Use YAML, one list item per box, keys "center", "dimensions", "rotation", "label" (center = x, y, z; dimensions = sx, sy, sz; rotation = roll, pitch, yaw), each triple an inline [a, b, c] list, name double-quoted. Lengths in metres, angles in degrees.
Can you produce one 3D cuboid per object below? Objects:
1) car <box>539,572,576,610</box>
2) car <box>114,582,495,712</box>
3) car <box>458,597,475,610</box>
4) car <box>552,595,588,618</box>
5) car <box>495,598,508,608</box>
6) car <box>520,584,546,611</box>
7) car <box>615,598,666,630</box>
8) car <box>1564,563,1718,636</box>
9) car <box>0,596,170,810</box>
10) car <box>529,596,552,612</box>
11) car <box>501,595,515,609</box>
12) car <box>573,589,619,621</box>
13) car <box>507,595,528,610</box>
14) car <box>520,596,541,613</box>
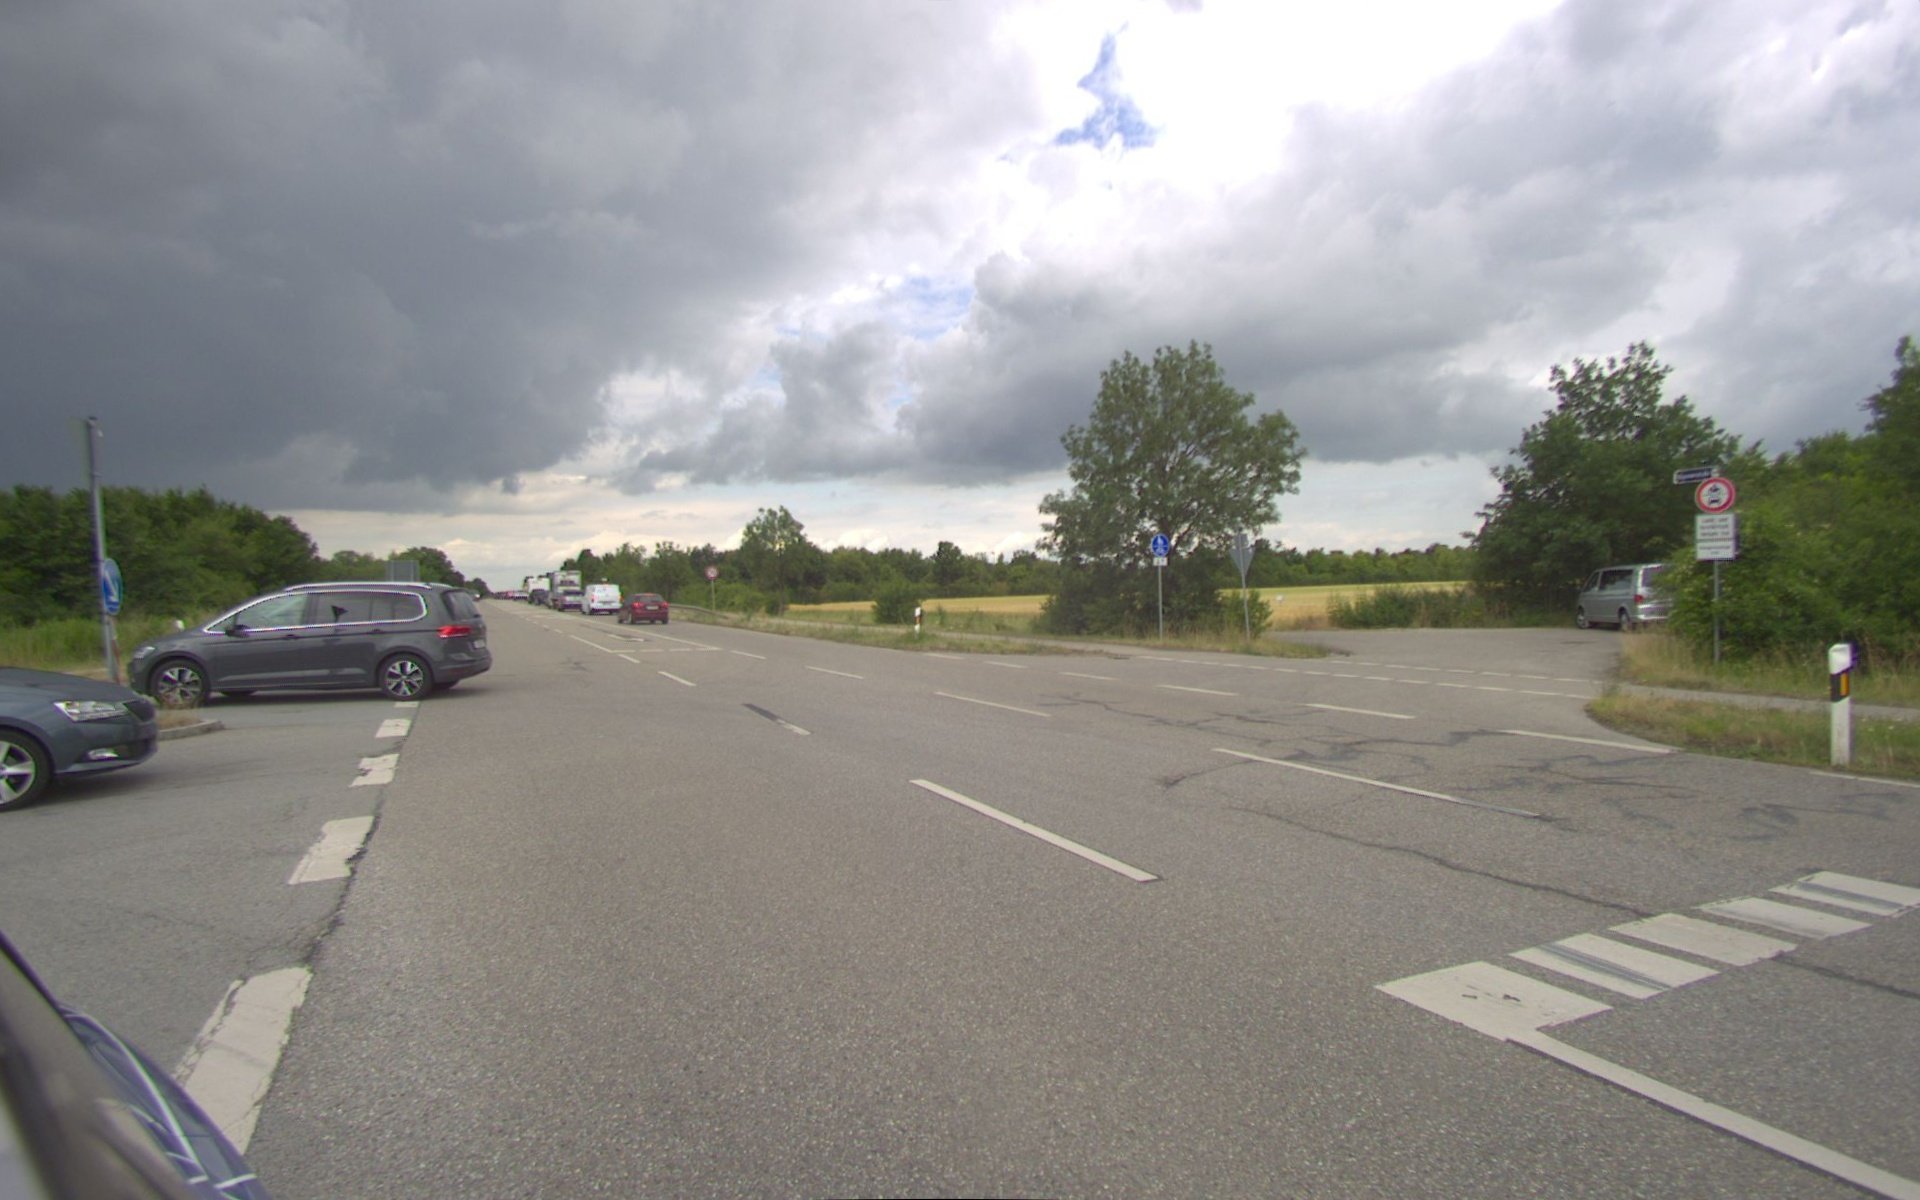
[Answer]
- center: [-33.946, -0.725, 85.195]
  dimensions: [2.300, 3.052, 6.579]
  rotation: [0, -1, -27]
  label: "car"
- center: [-9.123, 0.609, 14.452]
  dimensions: [4.220, 1.671, 1.758]
  rotation: [-1, 0, -11]
  label: "car"
- center: [-63.568, 0.453, 130.350]
  dimensions: [1.965, 1.493, 4.013]
  rotation: [-2, 1, -27]
  label: "car"
- center: [-28.888, 0.512, 74.861]
  dimensions: [1.965, 1.636, 4.274]
  rotation: [1, -1, -28]
  label: "car"
- center: [-78.898, 0.510, 173.999]
  dimensions: [1.826, 1.763, 4.013]
  rotation: [-2, 0, -26]
  label: "car"
- center: [-51.634, -0.230, 122.260]
  dimensions: [2.301, 3.052, 6.579]
  rotation: [-2, 0, -27]
  label: "car"
- center: [-14.939, 0.643, 47.241]
  dimensions: [1.649, 1.412, 4.102]
  rotation: [-1, 0, -26]
  label: "car"
- center: [20.131, -0.027, 30.213]
  dimensions: [2.092, 1.900, 5.078]
  rotation: [-3, 0, 14]
  label: "car"
- center: [-8.228, 0.781, 7.098]
  dimensions: [4.048, 1.458, 1.723]
  rotation: [-3, 2, -33]
  label: "car"
- center: [-42.855, 0.414, 103.289]
  dimensions: [1.816, 1.536, 4.013]
  rotation: [-2, 0, -27]
  label: "car"
- center: [-70.462, 0.337, 157.716]
  dimensions: [1.766, 2.029, 4.013]
  rotation: [-2, 0, -27]
  label: "car"
- center: [-23.438, 0.311, 65.079]
  dimensions: [2.076, 1.900, 5.408]
  rotation: [-1, 0, -27]
  label: "car"
- center: [-60.073, 0.349, 137.376]
  dimensions: [2.301, 1.936, 4.891]
  rotation: [-2, 0, -27]
  label: "car"
- center: [-47.292, 0.500, 111.358]
  dimensions: [1.826, 1.763, 4.013]
  rotation: [-2, 0, -27]
  label: "car"
